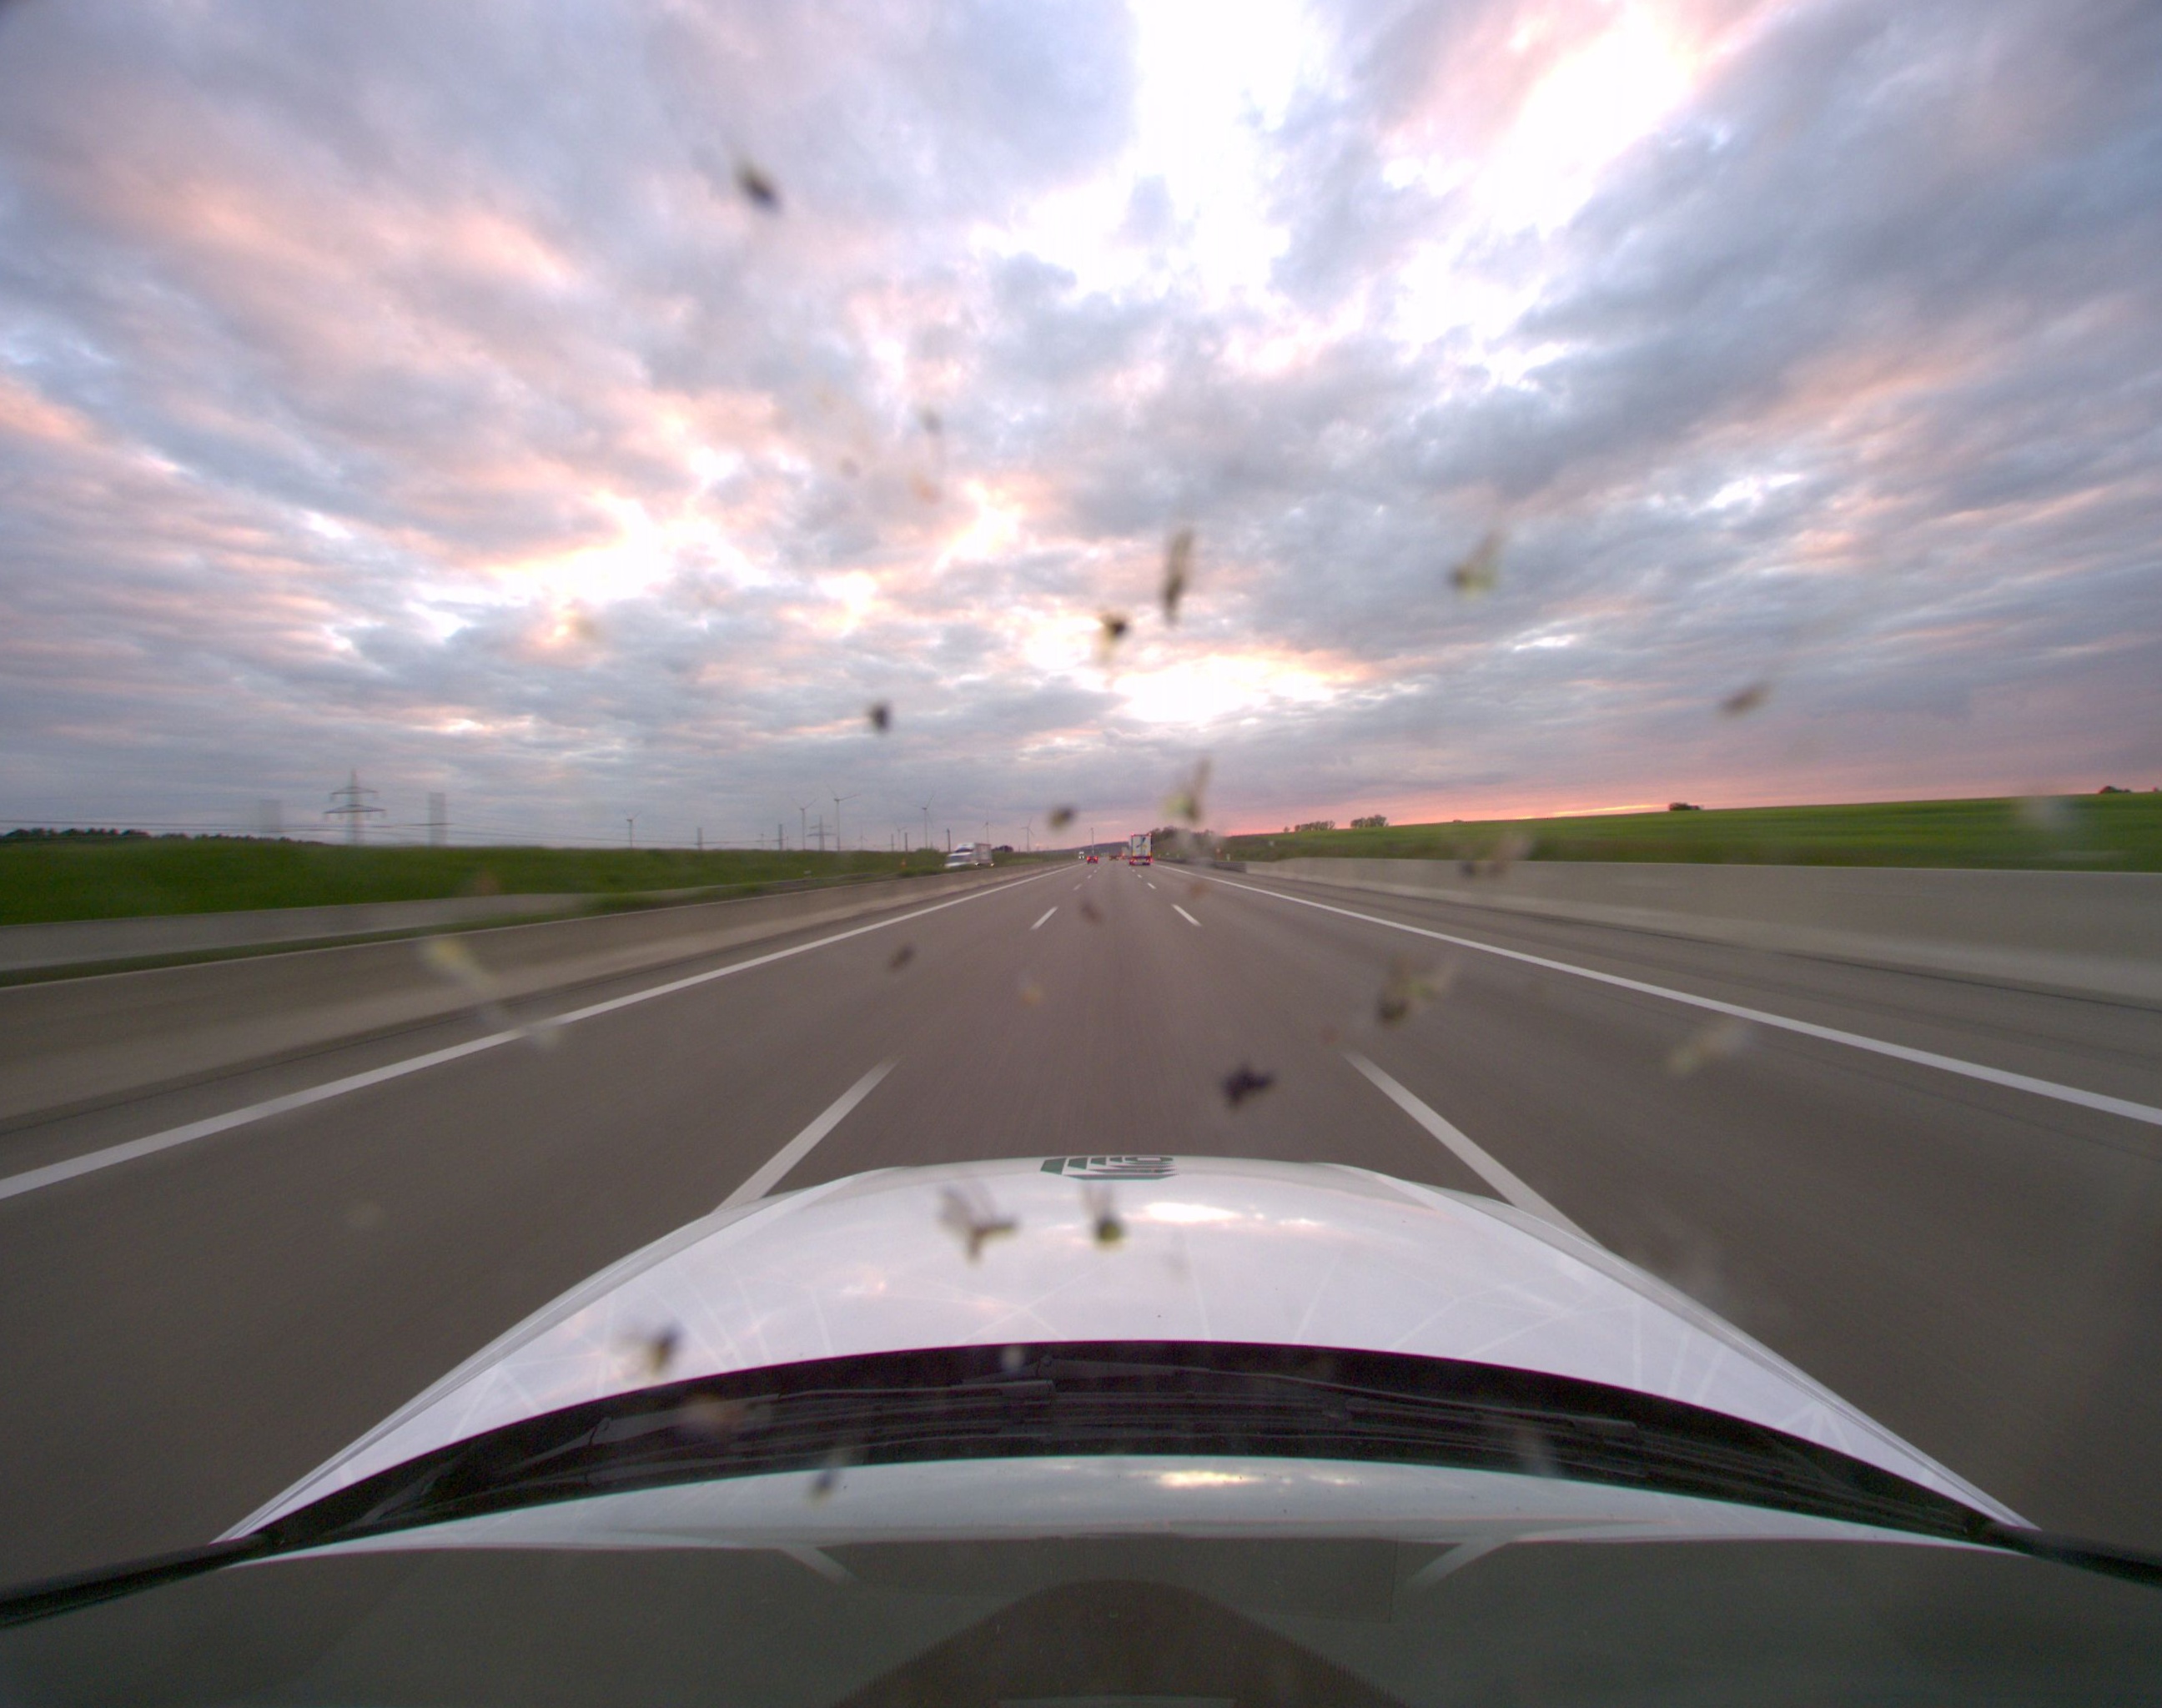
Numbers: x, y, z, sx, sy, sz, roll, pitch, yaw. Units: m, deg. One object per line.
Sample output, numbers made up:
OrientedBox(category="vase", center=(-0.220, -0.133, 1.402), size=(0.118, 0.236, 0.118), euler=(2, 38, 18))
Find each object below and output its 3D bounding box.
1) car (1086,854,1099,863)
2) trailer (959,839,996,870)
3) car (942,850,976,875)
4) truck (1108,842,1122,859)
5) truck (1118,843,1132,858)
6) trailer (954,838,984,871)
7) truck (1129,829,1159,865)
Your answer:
OrientedBox(category="car", center=(1.989, 0.702, 136.999), size=(1.980, 1.429, 4.003), euler=(-2, 0, 2))
OrientedBox(category="trailer", center=(-14.969, 0.067, 119.270), size=(2.676, 4.114, 15.115), euler=(-4, 0, 2))
OrientedBox(category="car", center=(-12.403, 0.806, 83.205), size=(2.119, 2.344, 6.496), euler=(-3, 0, 2))
OrientedBox(category="truck", center=(9.124, -0.985, 220.763), size=(3.633, 4.414, 8.640), euler=(-2, 0, 2))
OrientedBox(category="truck", center=(13.857, -1.085, 256.749), size=(3.950, 4.414, 8.641), euler=(-2, 0, 2))
OrientedBox(category="trailer", center=(-15.251, 0.057, 111.294), size=(2.676, 4.114, 6.941), euler=(-4, 0, 2))
OrientedBox(category="truck", center=(8.423, -0.902, 110.083), size=(3.660, 4.564, 10.991), euler=(-2, 0, 3))
